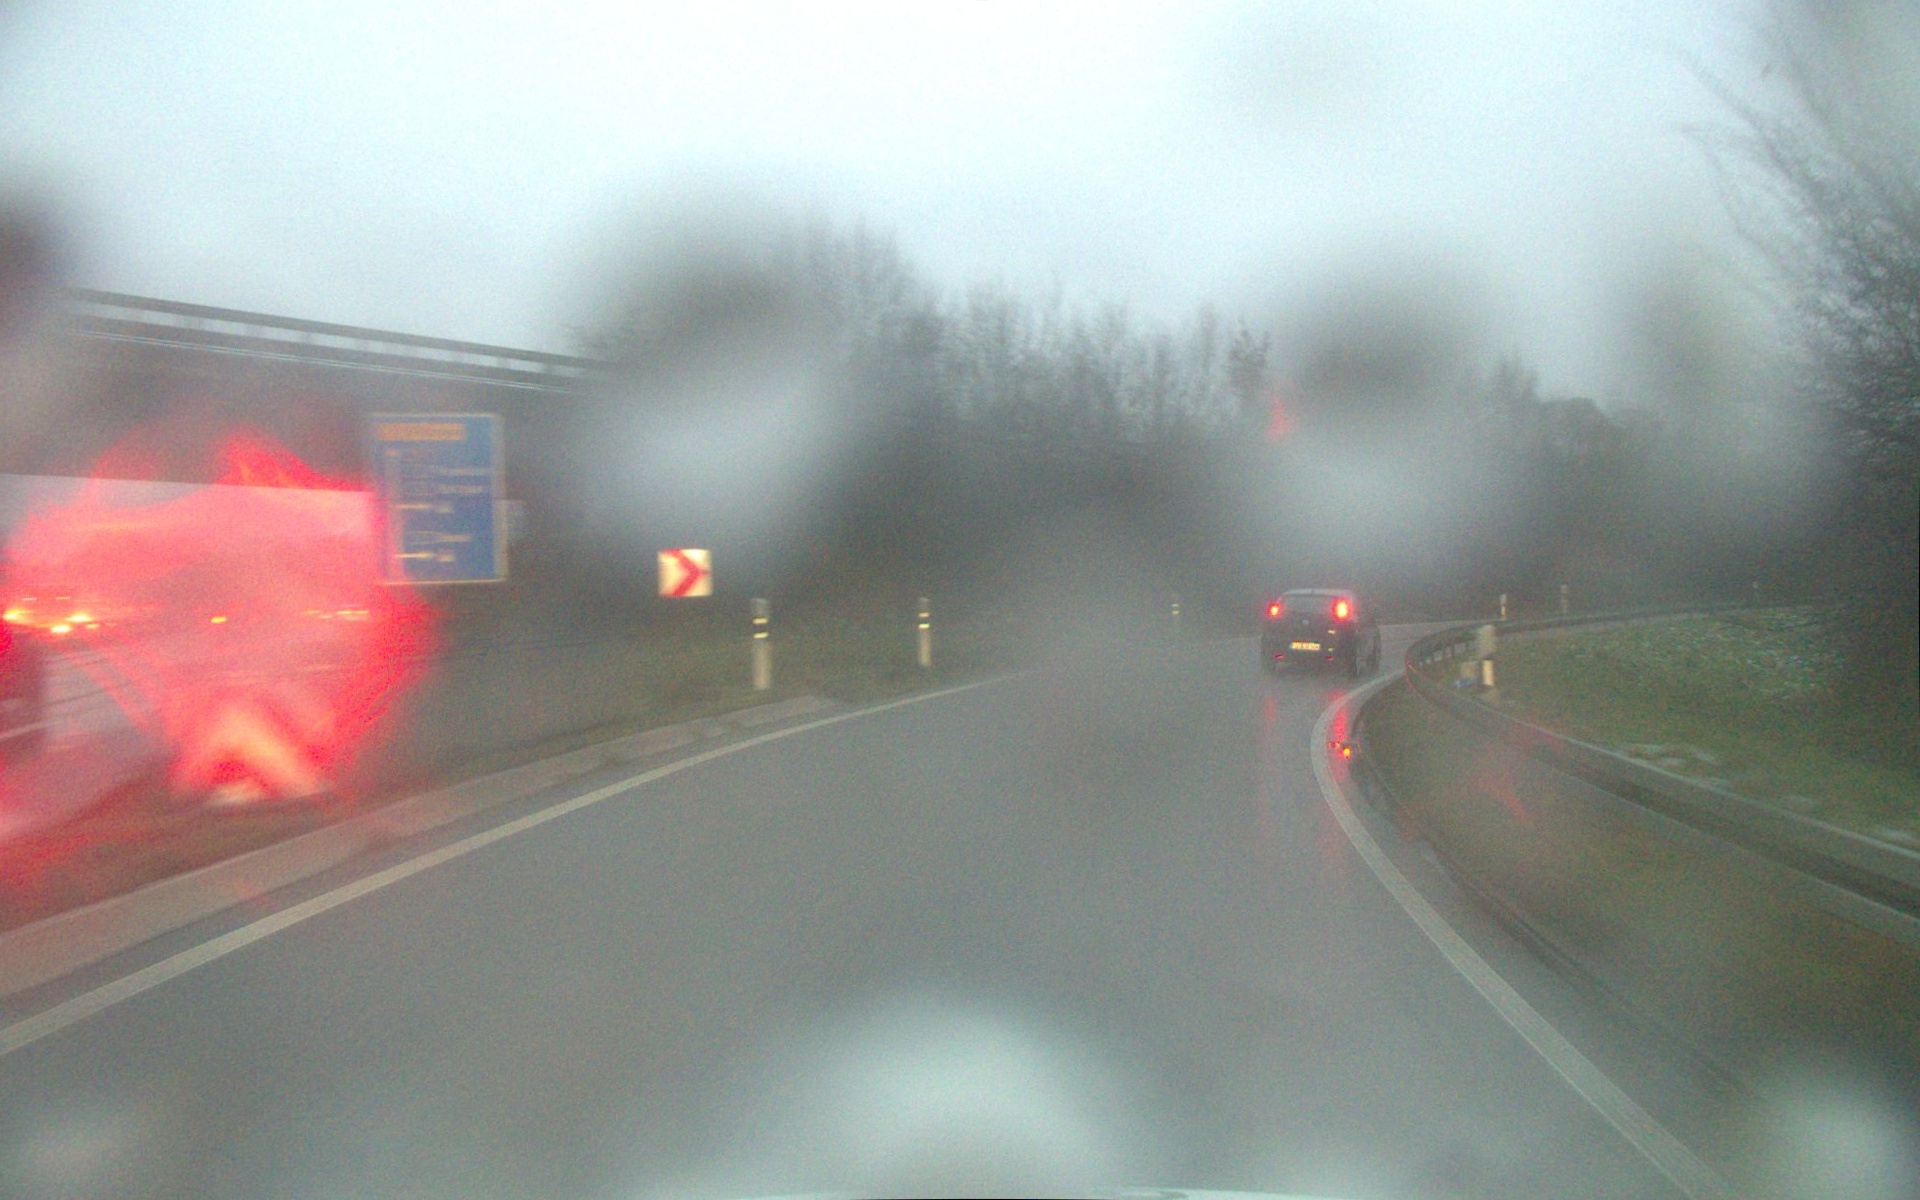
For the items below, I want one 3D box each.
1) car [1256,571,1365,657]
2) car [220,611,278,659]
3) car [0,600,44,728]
[{"bbox_3d":[6.402,0.204,29.999,1.695,1.454,3.768,0,1,16],"label":"car"},{"bbox_3d":[-28.310,1.350,65.782,1.856,1.645,3.841,-2,2,-26],"label":"car"},{"bbox_3d":[-14.301,0.914,23.311,1.968,1.693,3.970,-4,1,-24],"label":"car"}]
